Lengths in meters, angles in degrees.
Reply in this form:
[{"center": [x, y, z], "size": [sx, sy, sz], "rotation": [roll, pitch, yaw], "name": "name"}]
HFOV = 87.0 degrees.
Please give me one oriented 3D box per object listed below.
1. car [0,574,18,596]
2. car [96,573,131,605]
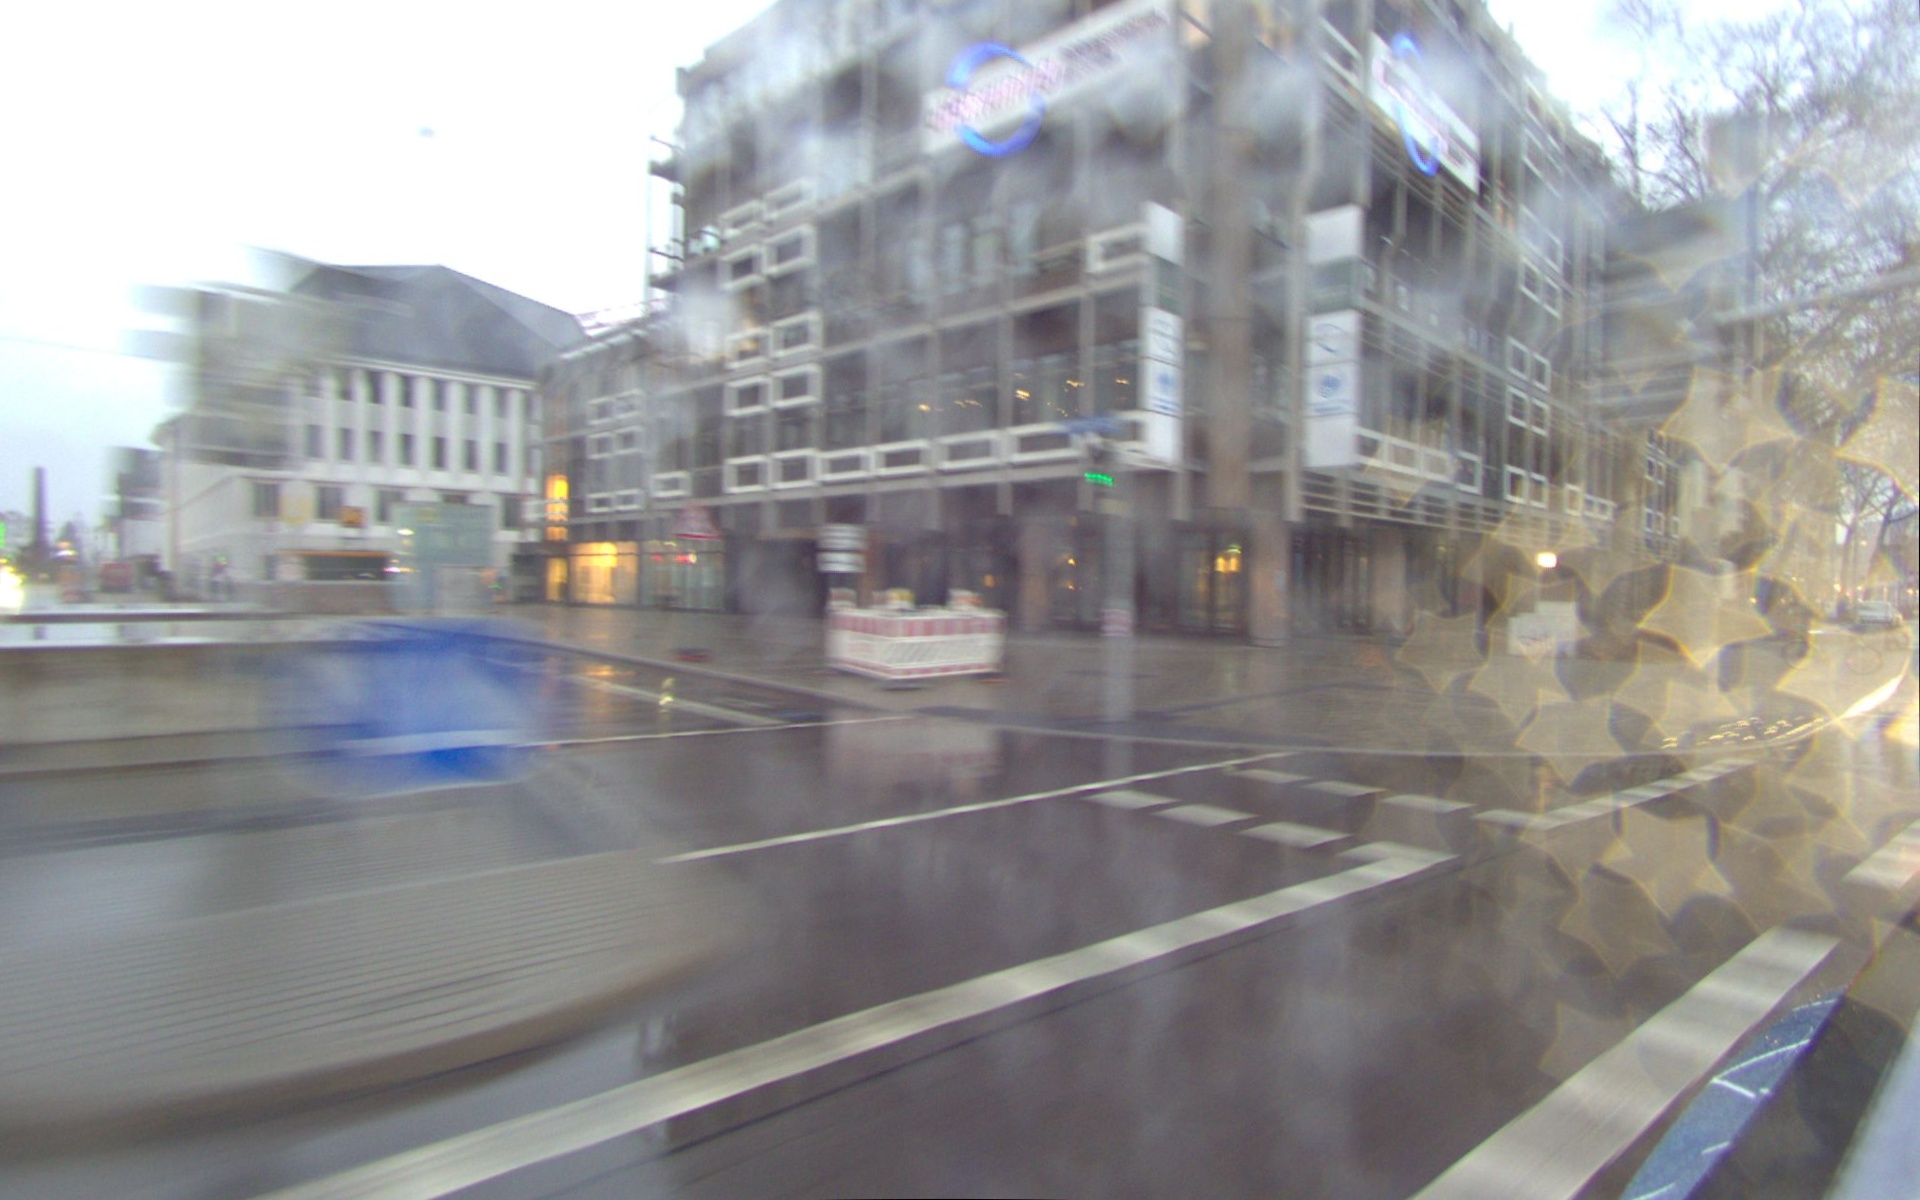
[{"center": [-78.813, -1.222, 83.130], "size": [1.870, 1.706, 3.932], "rotation": [0, 2, -39], "name": "car"}, {"center": [-68.585, -0.900, 81.942], "size": [1.936, 2.531, 3.990], "rotation": [0, 0, -43], "name": "car"}]
